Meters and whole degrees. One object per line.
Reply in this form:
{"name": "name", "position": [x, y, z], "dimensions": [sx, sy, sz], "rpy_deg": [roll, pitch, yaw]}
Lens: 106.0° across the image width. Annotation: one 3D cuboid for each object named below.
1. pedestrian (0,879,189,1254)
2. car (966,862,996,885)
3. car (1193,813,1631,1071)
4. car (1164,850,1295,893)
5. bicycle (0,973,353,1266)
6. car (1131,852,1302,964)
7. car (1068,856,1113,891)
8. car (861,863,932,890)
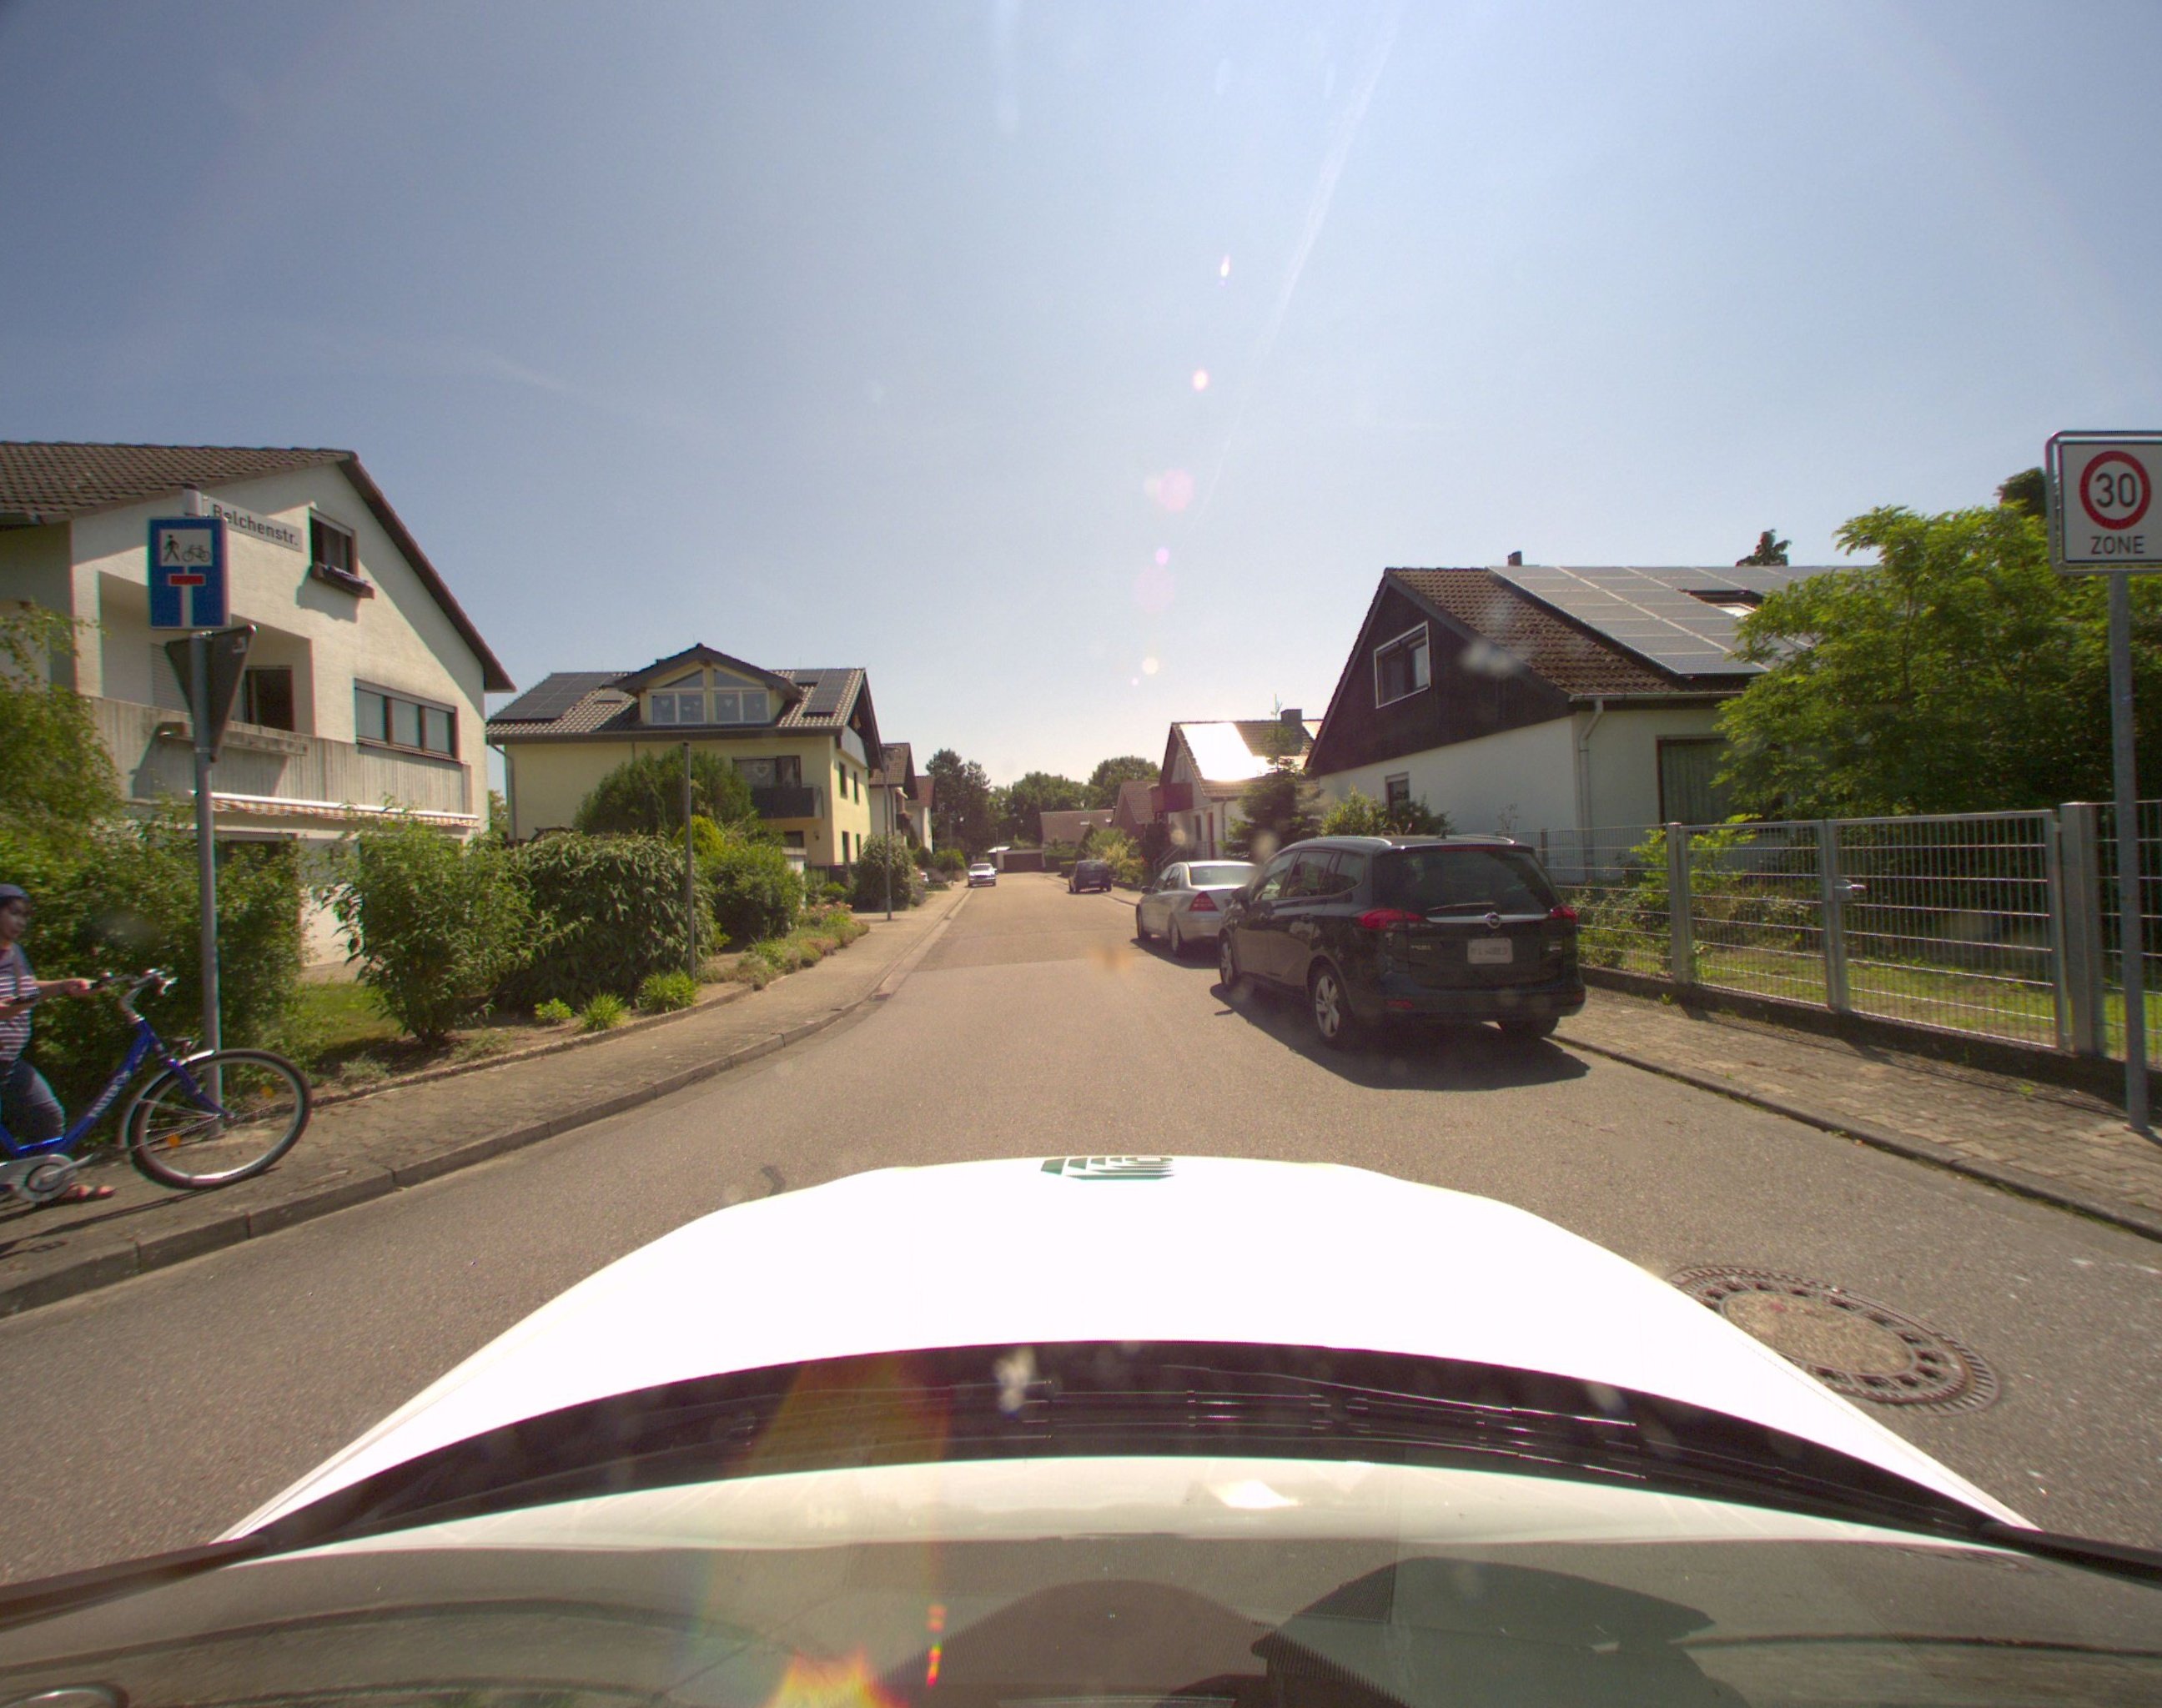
{"name": "pedestrian", "position": [-4.613, 0.884, 3.650], "dimensions": [0.499, 1.500, 0.614], "rpy_deg": [-2, 0, 10]}
{"name": "car", "position": [-6.420, 1.226, 52.565], "dimensions": [1.697, 1.393, 4.328], "rpy_deg": [-2, 0, -5]}
{"name": "car", "position": [2.621, 0.589, 7.911], "dimensions": [1.960, 1.662, 4.673], "rpy_deg": [-2, 0, -5]}
{"name": "car", "position": [5.600, 0.639, 31.017], "dimensions": [4.529, 1.396, 1.949], "rpy_deg": [-2, 0, -5]}
{"name": "bicycle", "position": [-4.417, 1.148, 3.585], "dimensions": [0.439, 0.964, 1.855], "rpy_deg": [-2, 0, 13]}
{"name": "car", "position": [2.009, 0.754, 13.417], "dimensions": [1.684, 1.460, 4.328], "rpy_deg": [-2, 0, -5]}
{"name": "car", "position": [0.388, 0.859, 37.063], "dimensions": [1.648, 1.440, 3.644], "rpy_deg": [-2, 0, -5]}
{"name": "car", "position": [-10.834, 1.300, 48.015], "dimensions": [3.989, 1.420, 1.838], "rpy_deg": [-2, 0, -12]}
